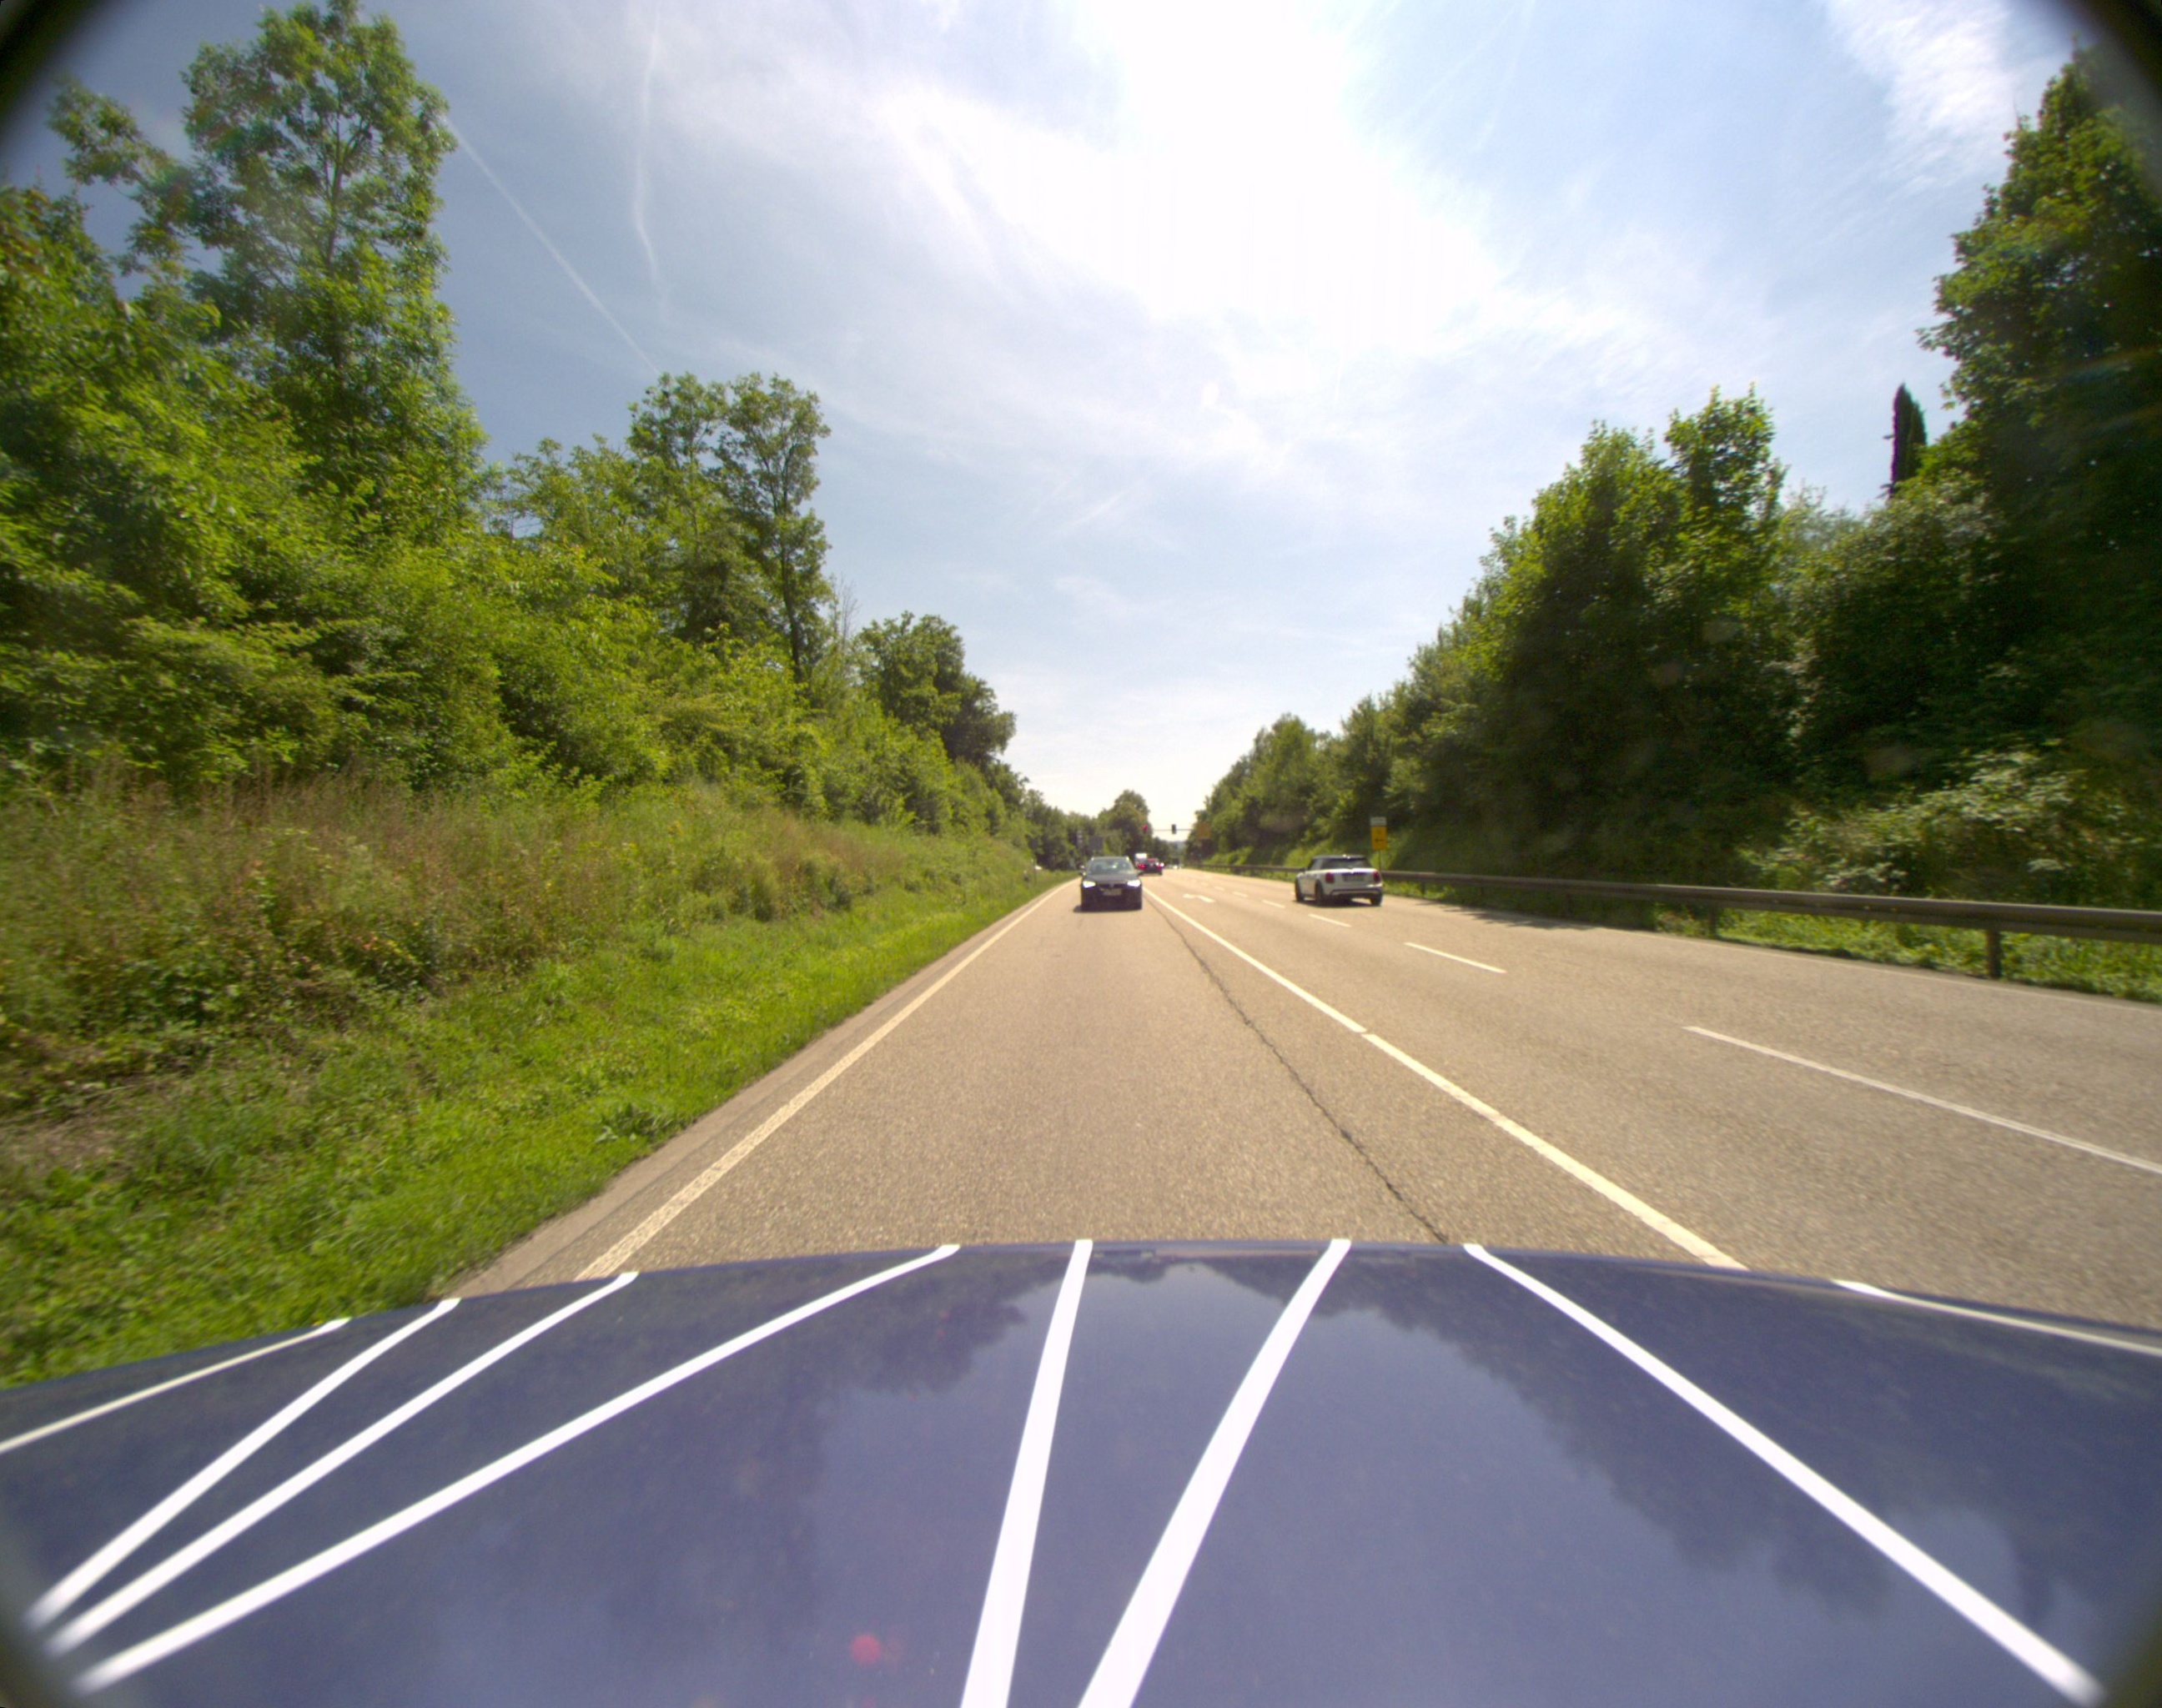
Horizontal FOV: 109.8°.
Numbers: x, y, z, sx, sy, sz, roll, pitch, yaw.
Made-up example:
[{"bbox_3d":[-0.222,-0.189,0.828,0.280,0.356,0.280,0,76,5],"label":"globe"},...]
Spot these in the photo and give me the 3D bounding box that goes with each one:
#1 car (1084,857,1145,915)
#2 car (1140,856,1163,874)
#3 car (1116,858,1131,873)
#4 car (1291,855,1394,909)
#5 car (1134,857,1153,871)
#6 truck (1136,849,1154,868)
[{"bbox_3d":[1.030,0.868,22.716,1.626,1.535,4.001,-2,0,3],"label":"car"},{"bbox_3d":[6.046,0.947,65.414,1.808,1.444,4.388,-2,0,4],"label":"car"},{"bbox_3d":[6.246,1.710,110.828,1.998,2.001,4.001,-4,-1,4],"label":"car"},{"bbox_3d":[7.513,0.755,22.181,1.810,1.427,3.872,-1,0,3],"label":"car"},{"bbox_3d":[6.750,1.084,82.509,1.785,1.438,4.642,-2,-1,2],"label":"car"},{"bbox_3d":[13.628,0.846,161.984,2.838,3.794,8.456,-3,1,10],"label":"truck"}]
